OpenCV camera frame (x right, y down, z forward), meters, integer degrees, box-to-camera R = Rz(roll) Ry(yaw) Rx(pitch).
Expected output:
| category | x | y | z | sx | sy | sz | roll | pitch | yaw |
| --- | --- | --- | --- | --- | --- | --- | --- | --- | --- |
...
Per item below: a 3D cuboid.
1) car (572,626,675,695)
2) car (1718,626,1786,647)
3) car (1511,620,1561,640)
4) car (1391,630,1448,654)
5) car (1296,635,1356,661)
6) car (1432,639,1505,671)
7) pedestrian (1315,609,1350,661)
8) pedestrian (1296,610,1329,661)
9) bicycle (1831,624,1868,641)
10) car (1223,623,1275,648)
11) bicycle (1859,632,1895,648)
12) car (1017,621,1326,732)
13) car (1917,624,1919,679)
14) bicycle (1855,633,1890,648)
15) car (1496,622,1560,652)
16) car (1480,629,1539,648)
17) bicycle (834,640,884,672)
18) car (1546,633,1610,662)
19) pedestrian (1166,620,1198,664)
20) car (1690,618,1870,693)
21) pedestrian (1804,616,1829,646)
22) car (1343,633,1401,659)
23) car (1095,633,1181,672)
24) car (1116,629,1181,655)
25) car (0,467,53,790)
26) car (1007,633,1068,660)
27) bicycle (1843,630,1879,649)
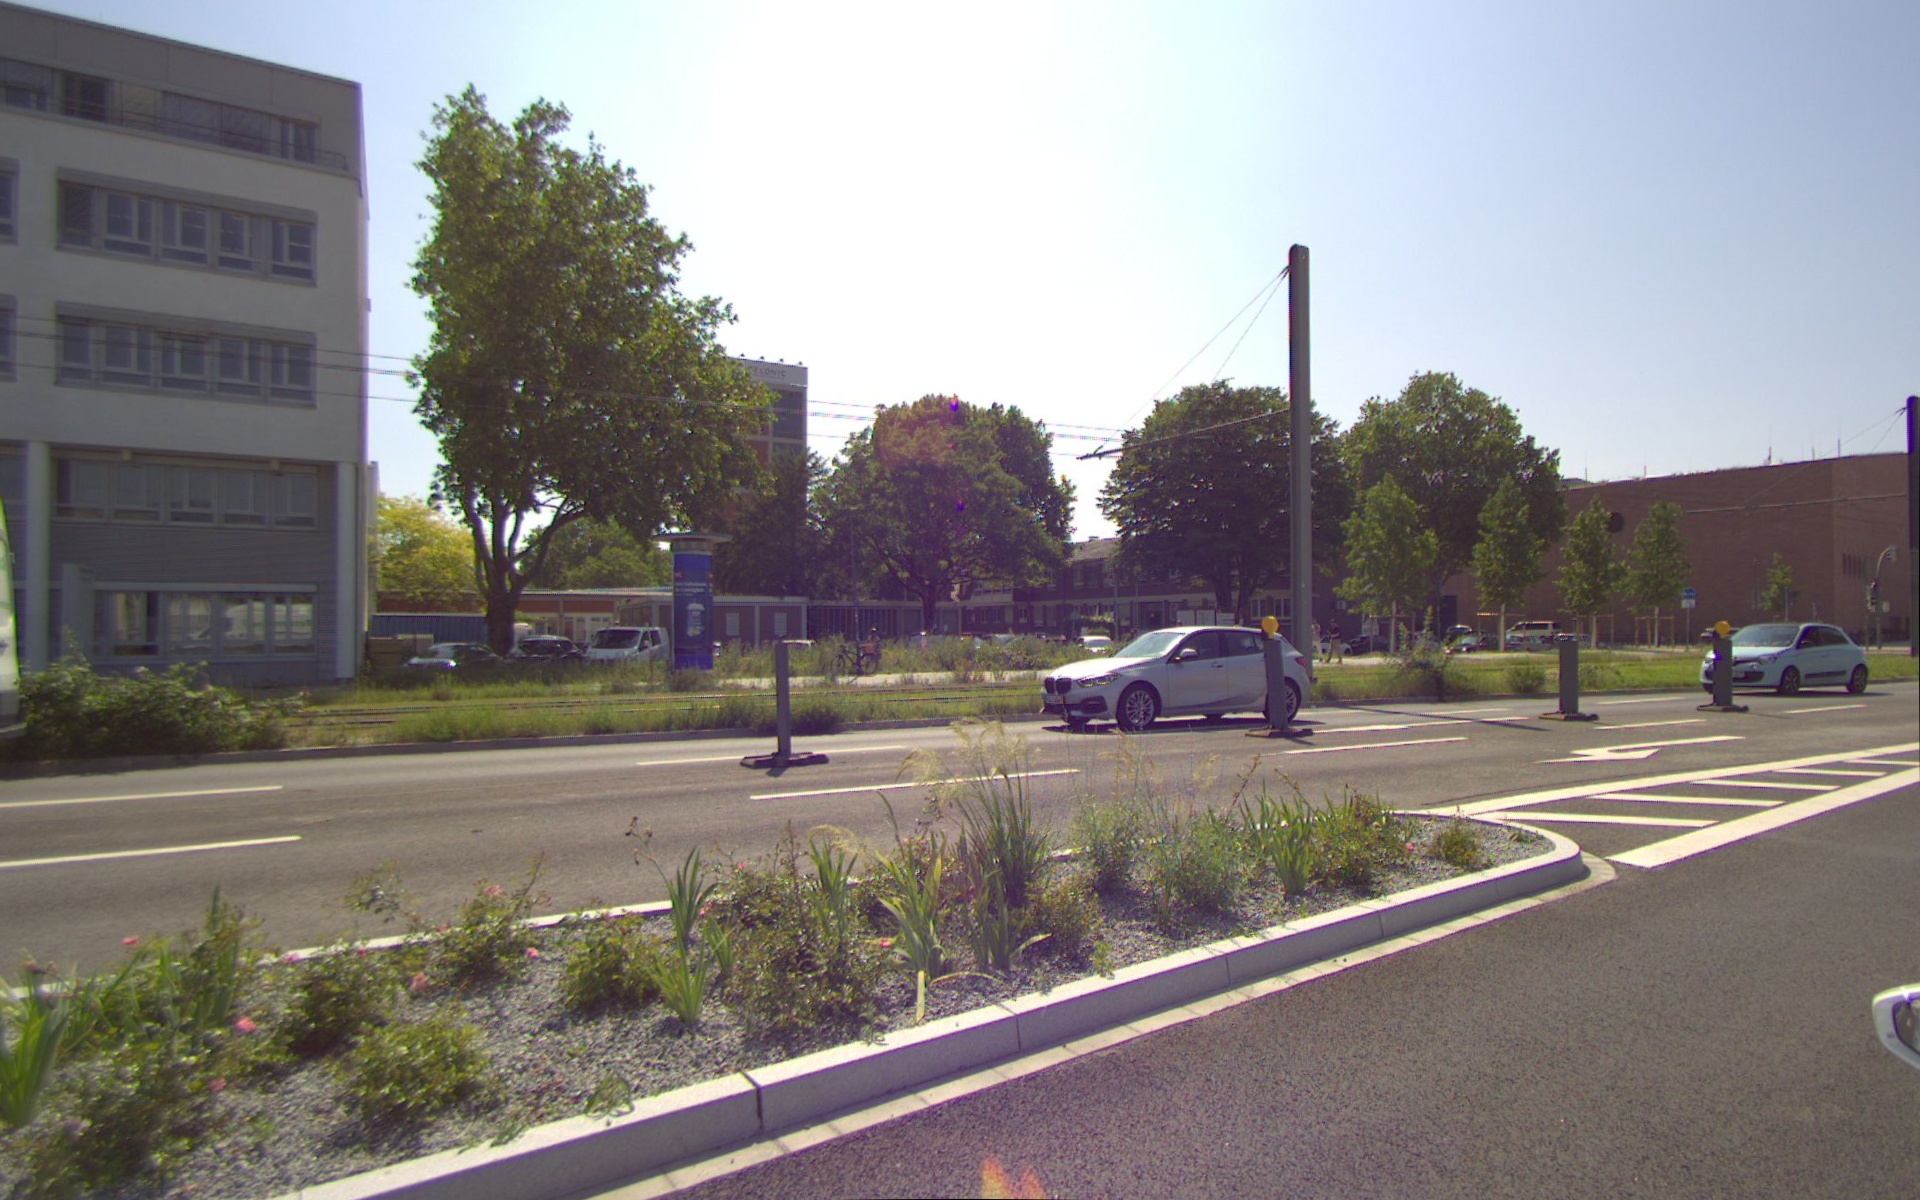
| category | x | y | z | sx | sy | sz | roll | pitch | yaw |
| --- | --- | --- | --- | --- | --- | --- | --- | --- | --- |
| car | -11.716 | 2.043 | 35.348 | 2.073 | 2.208 | 5.075 | 0 | -1 | -2 |
| car | 55.793 | 2.542 | 70.787 | 1.554 | 1.388 | 3.462 | 0 | 0 | -30 |
| car | 51.495 | 2.645 | 89.852 | 1.673 | 1.712 | 3.528 | 0 | 0 | -29 |
| car | 30.316 | 2.771 | 66.238 | 3.742 | 1.476 | 1.531 | 0 | -1 | -30 |
| car | 22.117 | 2.888 | 60.633 | 3.748 | 1.476 | 1.529 | 1 | -1 | -34 |
| car | 30.238 | 3.261 | 59.697 | 4.476 | 1.784 | 1.690 | 1 | -1 | -30 |
| pedestrian | 14.777 | 1.378 | 39.845 | 0.898 | 2.040 | 0.979 | 0 | 0 | -27 |
| pedestrian | 14.303 | 1.418 | 40.784 | 0.971 | 2.040 | 0.836 | 0 | 0 | -27 |
| bicycle | 66.026 | 2.411 | 74.560 | 0.535 | 1.228 | 2.034 | 1 | -2 | -39 |
| car | 17.448 | 2.121 | 60.543 | 1.520 | 1.476 | 4.248 | -1 | -2 | 39 |
| bicycle | 71.504 | 3.125 | 78.352 | 0.535 | 1.228 | 2.034 | 0 | -1 | -39 |
| car | 3.179 | 1.080 | 15.004 | 4.408 | 1.462 | 1.669 | 1 | -3 | -25 |
| car | 27.232 | 1.348 | 26.416 | 4.238 | 1.435 | 1.575 | 1 | -2 | -26 |
| bicycle | 73.888 | 3.268 | 81.333 | 0.535 | 1.228 | 2.034 | 0 | -1 | -39 |
| car | 34.963 | 2.258 | 61.794 | 3.892 | 1.784 | 1.691 | 1 | -1 | -29 |
| car | 45.779 | 3.194 | 83.767 | 1.972 | 1.421 | 3.977 | 1 | -1 | -24 |
| bicycle | -3.212 | 1.774 | 32.075 | 1.537 | 0.999 | 0.458 | 1 | -1 | -27 |
| car | 40.024 | 3.056 | 65.033 | 4.250 | 1.784 | 1.690 | 1 | -1 | -30 |
| pedestrian | 8.103 | 1.537 | 36.655 | 0.815 | 1.597 | 0.812 | 0 | -2 | -24 |
| car | 18.232 | 1.226 | 22.347 | 3.569 | 1.550 | 1.577 | 1 | -4 | -23 |
| pedestrian | 53.110 | 1.915 | 62.272 | 1.093 | 1.871 | 0.808 | 0 | -1 | -29 |
| car | 25.911 | 2.874 | 63.090 | 3.746 | 1.476 | 1.530 | 0 | -1 | -33 |
| car | 8.002 | 2.321 | 45.032 | 3.600 | 1.612 | 1.756 | 0 | 0 | -35 |
| car | 11.436 | 2.507 | 61.007 | 3.700 | 1.476 | 1.534 | -1 | -1 | 44 |
| car | -10.980 | 0.224 | 7.443 | 5.913 | 2.775 | 2.069 | 1 | -3 | -29 |
| car | 4.579 | 2.739 | 59.215 | 3.308 | 1.472 | 1.529 | 0 | 0 | -32 |
| bicycle | 69.452 | 3.026 | 77.459 | 0.535 | 1.472 | 2.034 | 0 | -1 | -39 |
